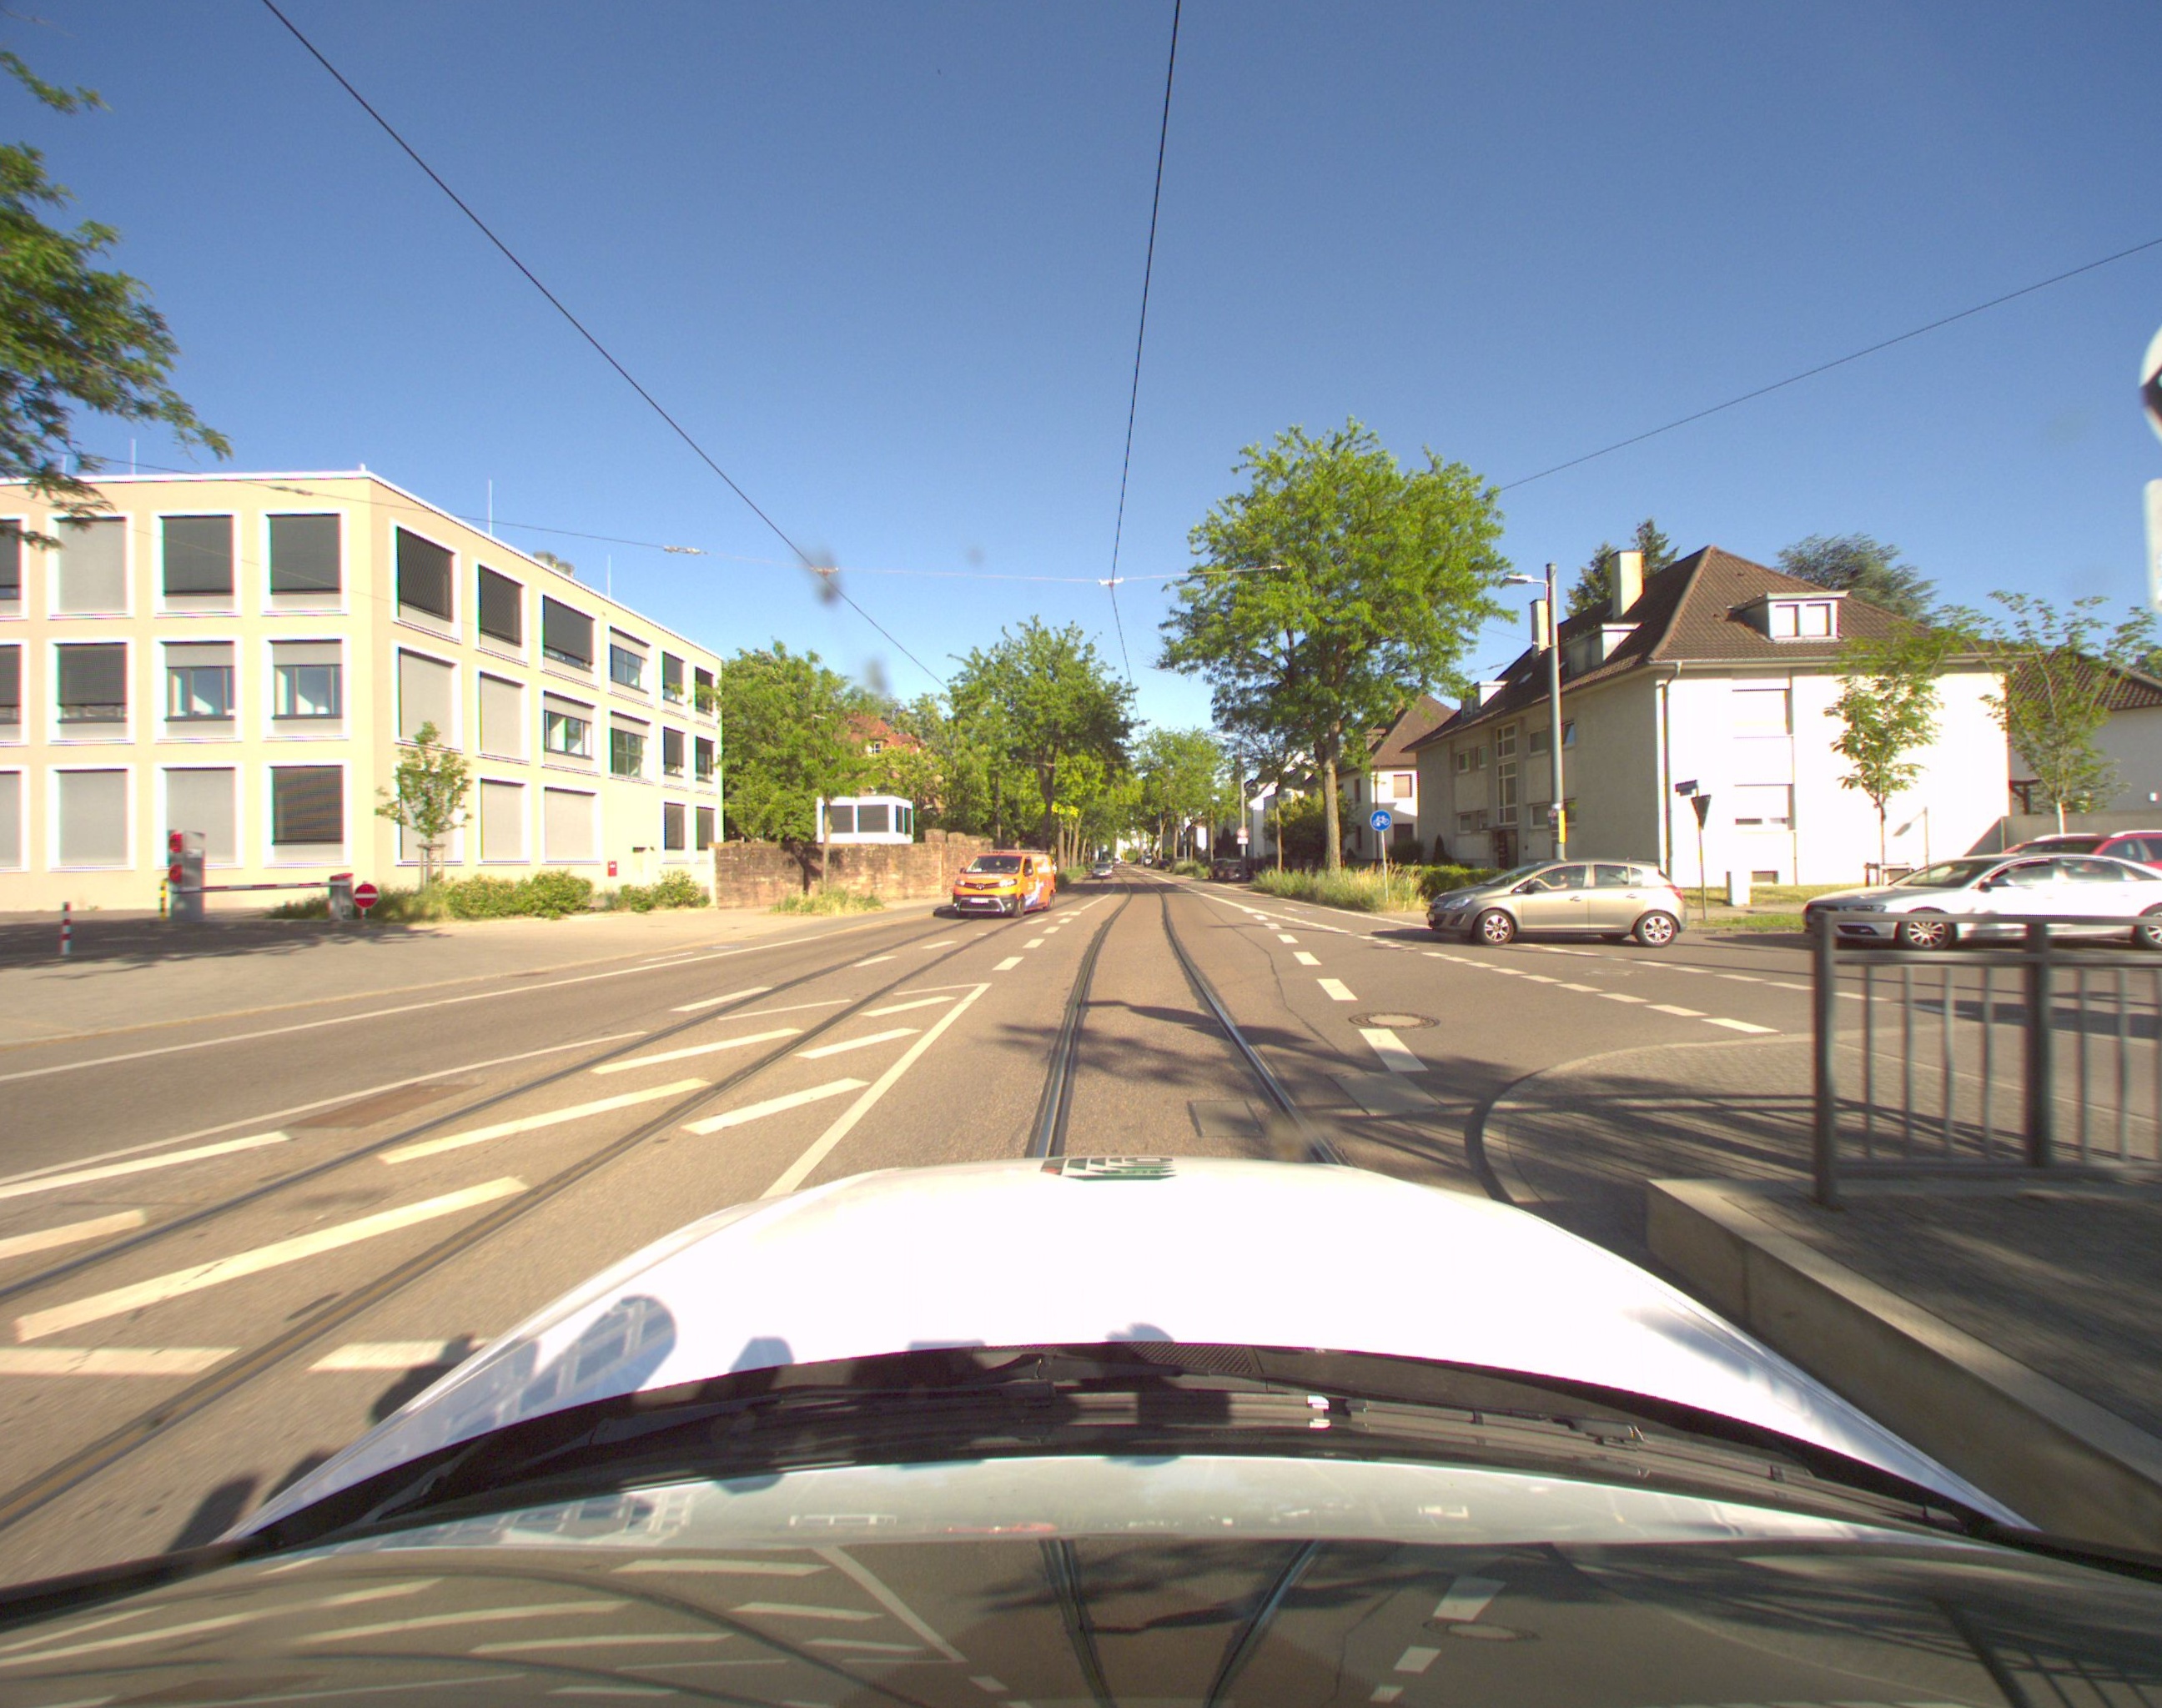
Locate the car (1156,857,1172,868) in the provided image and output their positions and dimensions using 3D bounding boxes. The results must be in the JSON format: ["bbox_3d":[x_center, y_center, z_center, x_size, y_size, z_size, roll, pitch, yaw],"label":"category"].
[{"bbox_3d":[12.015,1.161,118.116,1.778,1.448,4.300,-4,0,0],"label":"car"}]

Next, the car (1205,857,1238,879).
[{"bbox_3d":[10.174,0.965,59.232,1.742,1.495,3.998,-2,0,1],"label":"car"}]

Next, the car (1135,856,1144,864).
[{"bbox_3d":[14.379,1.448,198.971,1.993,1.675,4.399,-3,0,5],"label":"car"}]

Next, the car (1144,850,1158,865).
[{"bbox_3d":[12.749,0.731,149.259,2.237,2.654,5.587,-1,0,1],"label":"car"}]

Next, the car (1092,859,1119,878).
[{"bbox_3d":[2.138,1.249,69.383,1.984,1.524,4.586,-1,0,5],"label":"car"}]

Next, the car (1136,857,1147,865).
[{"bbox_3d":[13.475,1.470,181.475,1.995,1.675,4.393,-3,0,1],"label":"car"}]

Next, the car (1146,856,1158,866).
[{"bbox_3d":[11.120,1.037,128.045,1.621,1.397,3.646,-4,0,1],"label":"car"}]

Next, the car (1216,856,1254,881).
[{"bbox_3d":[10.039,0.925,53.294,1.742,1.495,4.445,-2,0,2],"label":"car"}]

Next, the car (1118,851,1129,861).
[{"bbox_3d":[11.850,0.583,227.677,1.995,2.458,4.491,-2,0,-11],"label":"car"}]

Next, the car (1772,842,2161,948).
[{"bbox_3d":[14.009,0.634,12.643,4.571,1.466,1.989,-2,-2,13],"label":"car"}]

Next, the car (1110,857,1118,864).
[{"bbox_3d":[8.265,1.544,202.077,1.858,1.675,4.175,-2,0,2],"label":"car"}]

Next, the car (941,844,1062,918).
[{"bbox_3d":[-2.195,0.733,24.208,1.979,1.966,4.952,-1,0,14],"label":"car"}]

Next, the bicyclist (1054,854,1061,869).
[{"bbox_3d":[-2.516,0.788,87.595,0.591,1.527,1.062,-1,-1,2],"label":"bicyclist"}]

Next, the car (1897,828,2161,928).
[{"bbox_3d":[17.886,0.399,14.791,4.149,1.642,1.982,-1,0,0],"label":"car"}]

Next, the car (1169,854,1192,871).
[{"bbox_3d":[11.140,0.904,91.709,1.987,1.704,4.477,-4,0,1],"label":"car"}]

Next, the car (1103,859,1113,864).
[{"bbox_3d":[8.365,2.234,252.846,2.003,1.560,4.376,-2,0,-11],"label":"car"}]

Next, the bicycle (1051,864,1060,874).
[{"bbox_3d":[-2.616,1.486,83.097,0.708,0.960,2.096,-1,0,3],"label":"bicycle"}]

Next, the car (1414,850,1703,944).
[{"bbox_3d":[8.162,0.721,14.331,3.961,1.508,1.988,-1,0,11],"label":"car"}]
